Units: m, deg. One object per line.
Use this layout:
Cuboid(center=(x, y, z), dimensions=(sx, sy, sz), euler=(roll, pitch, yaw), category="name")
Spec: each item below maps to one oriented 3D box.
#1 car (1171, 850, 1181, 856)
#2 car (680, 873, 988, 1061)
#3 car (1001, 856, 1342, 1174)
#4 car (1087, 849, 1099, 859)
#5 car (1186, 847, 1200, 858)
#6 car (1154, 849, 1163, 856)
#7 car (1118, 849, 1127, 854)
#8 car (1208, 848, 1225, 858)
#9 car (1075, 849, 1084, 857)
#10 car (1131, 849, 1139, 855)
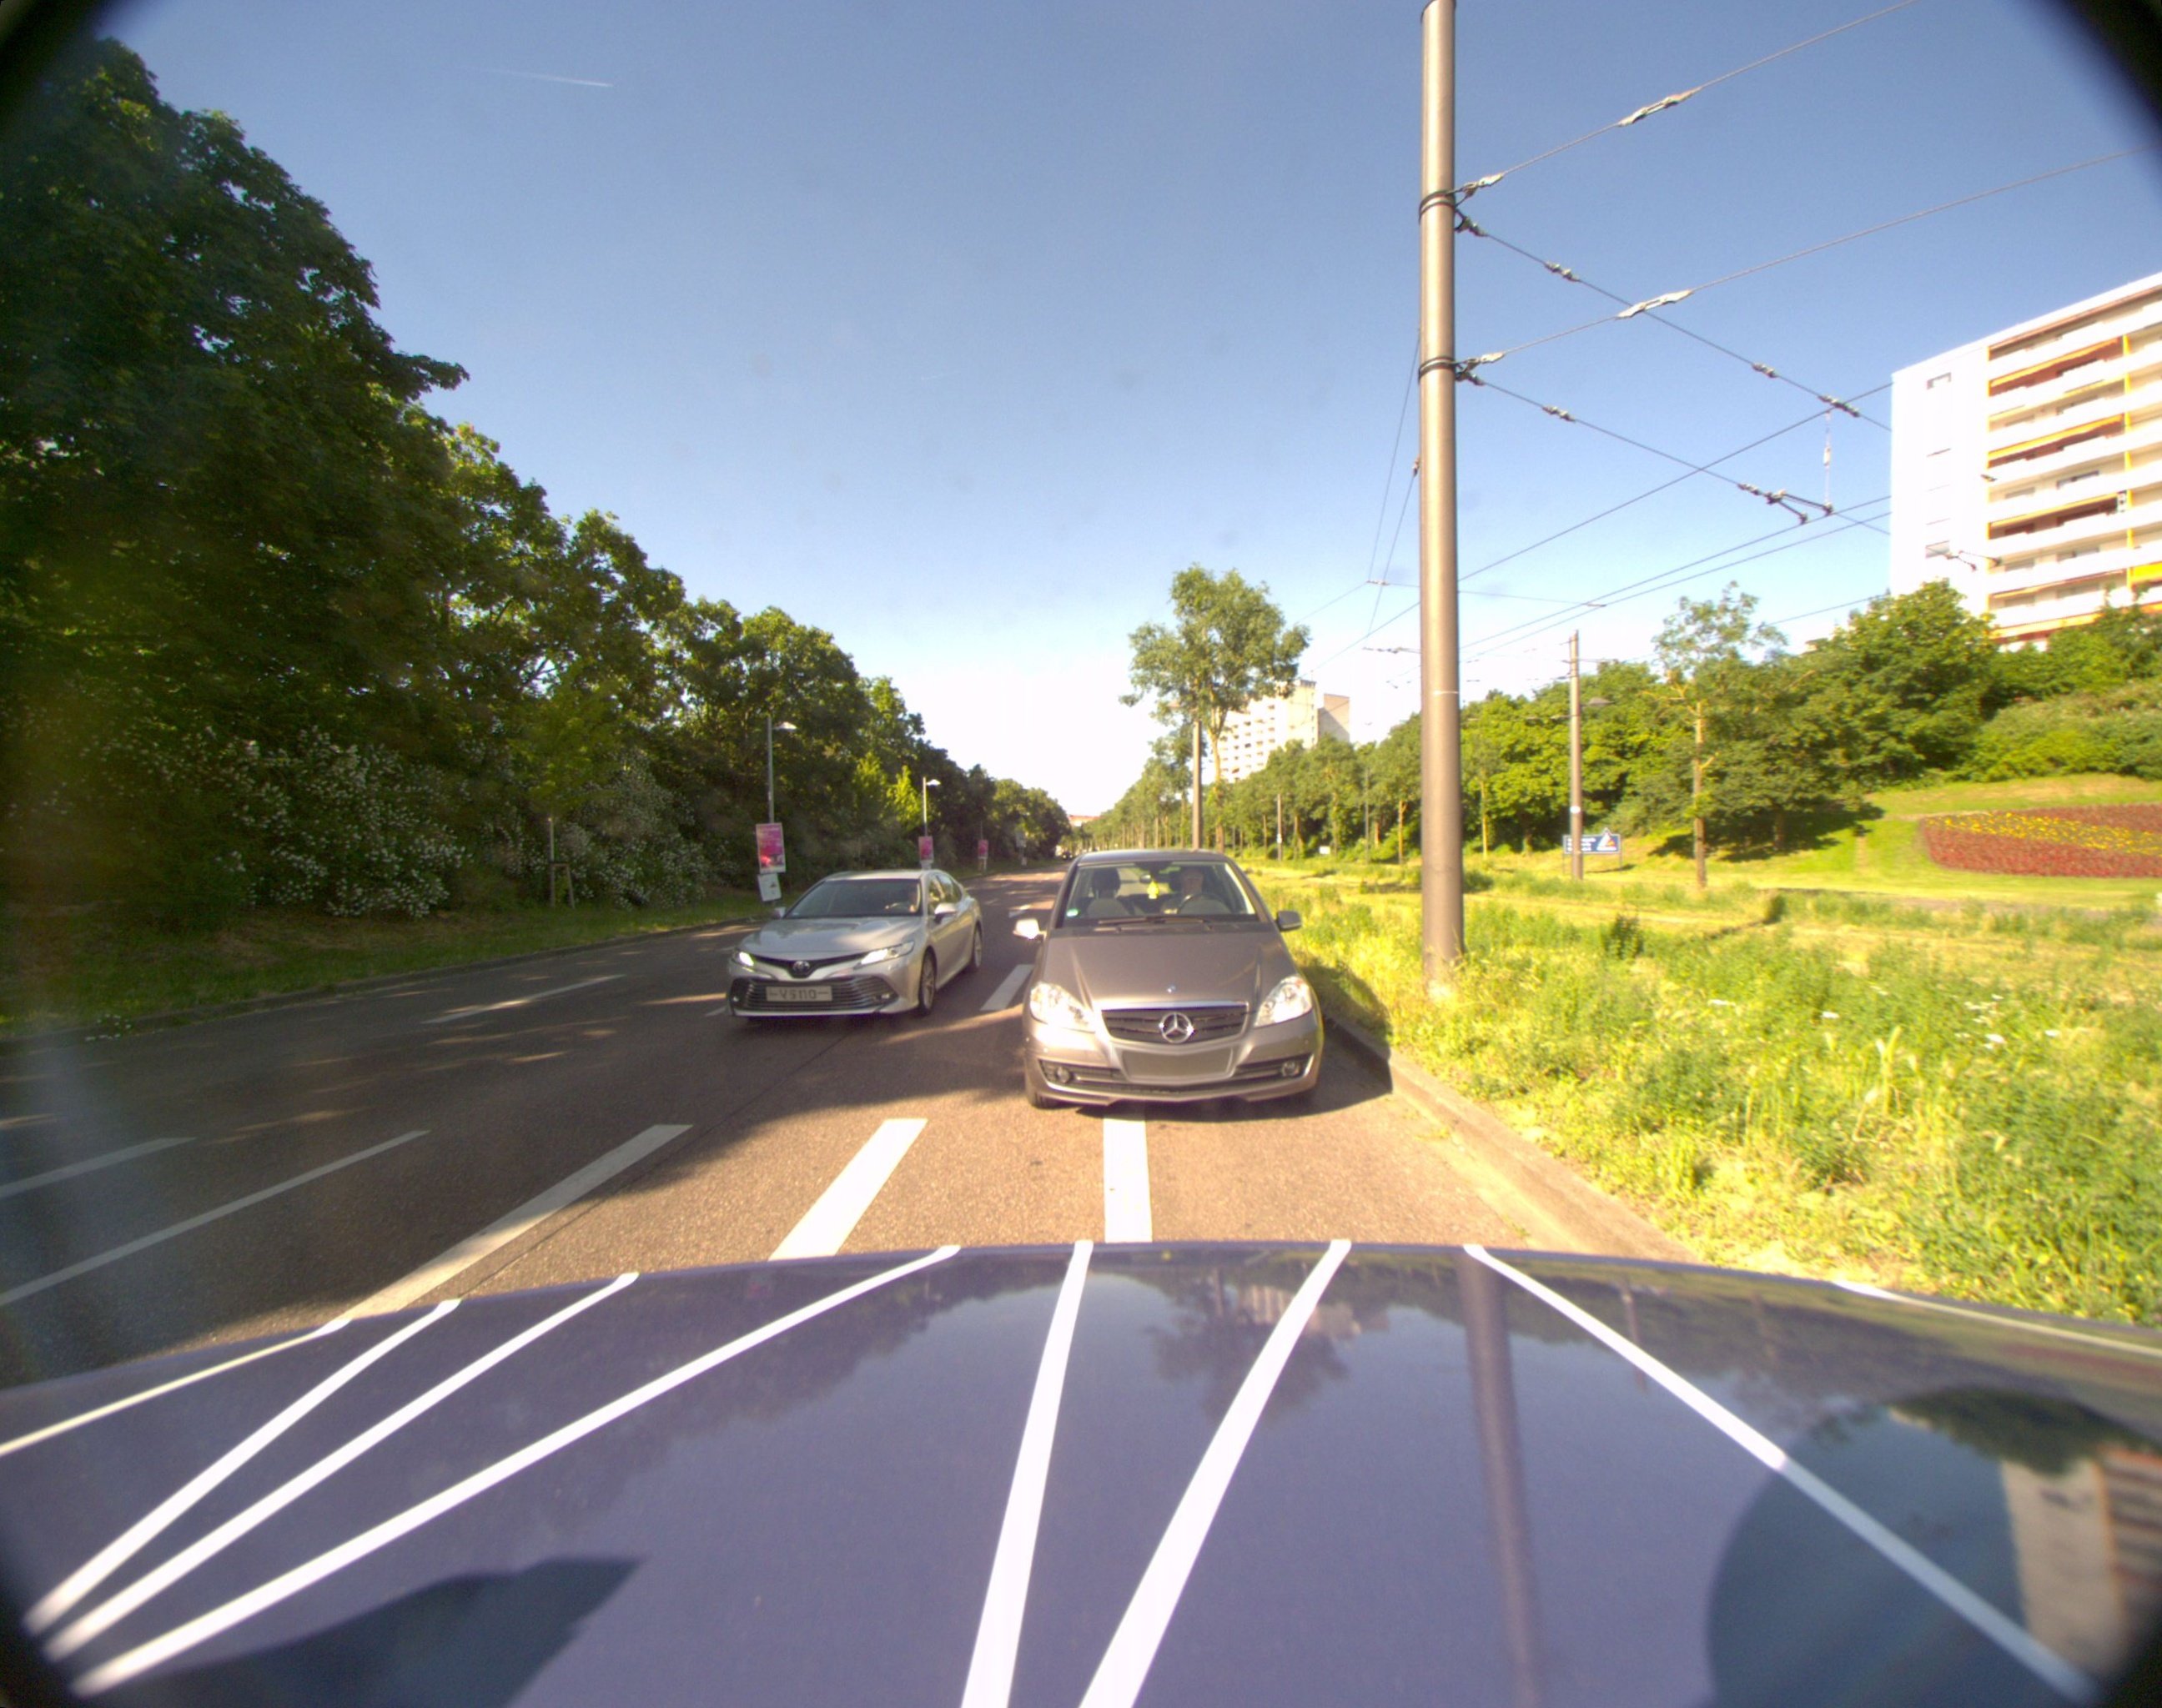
Cuboid(center=(19.875, -0.230, 158.820), dimensions=(1.780, 1.368, 4.001), euler=(-1, 0, 3), category="car")
Cuboid(center=(-2.373, 1.017, 8.715), dimensions=(1.876, 1.428, 4.594), euler=(-1, 0, 2), category="car")
Cuboid(center=(0.501, 0.854, 5.920), dimensions=(1.759, 1.612, 3.880), euler=(-1, 0, 1), category="car")
Cuboid(center=(2.176, -0.051, 138.764), dimensions=(1.998, 1.702, 4.000), euler=(-1, 0, 1), category="car")
Cuboid(center=(20.328, -0.291, 138.121), dimensions=(1.998, 1.955, 4.907), euler=(-1, 0, 1), category="car")
Cuboid(center=(18.314, -0.317, 179.866), dimensions=(1.792, 1.499, 4.241), euler=(-1, 0, 3), category="car")
Cuboid(center=(12.079, -0.826, 221.165), dimensions=(1.801, 1.408, 4.306), euler=(-1, 0, -11), category="car")
Cuboid(center=(21.632, -0.124, 121.116), dimensions=(1.998, 1.565, 4.106), euler=(-1, 0, 1), category="car")
Cuboid(center=(-0.288, -0.257, 166.177), dimensions=(1.998, 1.702, 4.000), euler=(-1, 0, 1), category="car")
Cuboid(center=(13.475, -0.596, 189.660), dimensions=(1.799, 1.408, 4.311), euler=(-1, 0, 4), category="car")
